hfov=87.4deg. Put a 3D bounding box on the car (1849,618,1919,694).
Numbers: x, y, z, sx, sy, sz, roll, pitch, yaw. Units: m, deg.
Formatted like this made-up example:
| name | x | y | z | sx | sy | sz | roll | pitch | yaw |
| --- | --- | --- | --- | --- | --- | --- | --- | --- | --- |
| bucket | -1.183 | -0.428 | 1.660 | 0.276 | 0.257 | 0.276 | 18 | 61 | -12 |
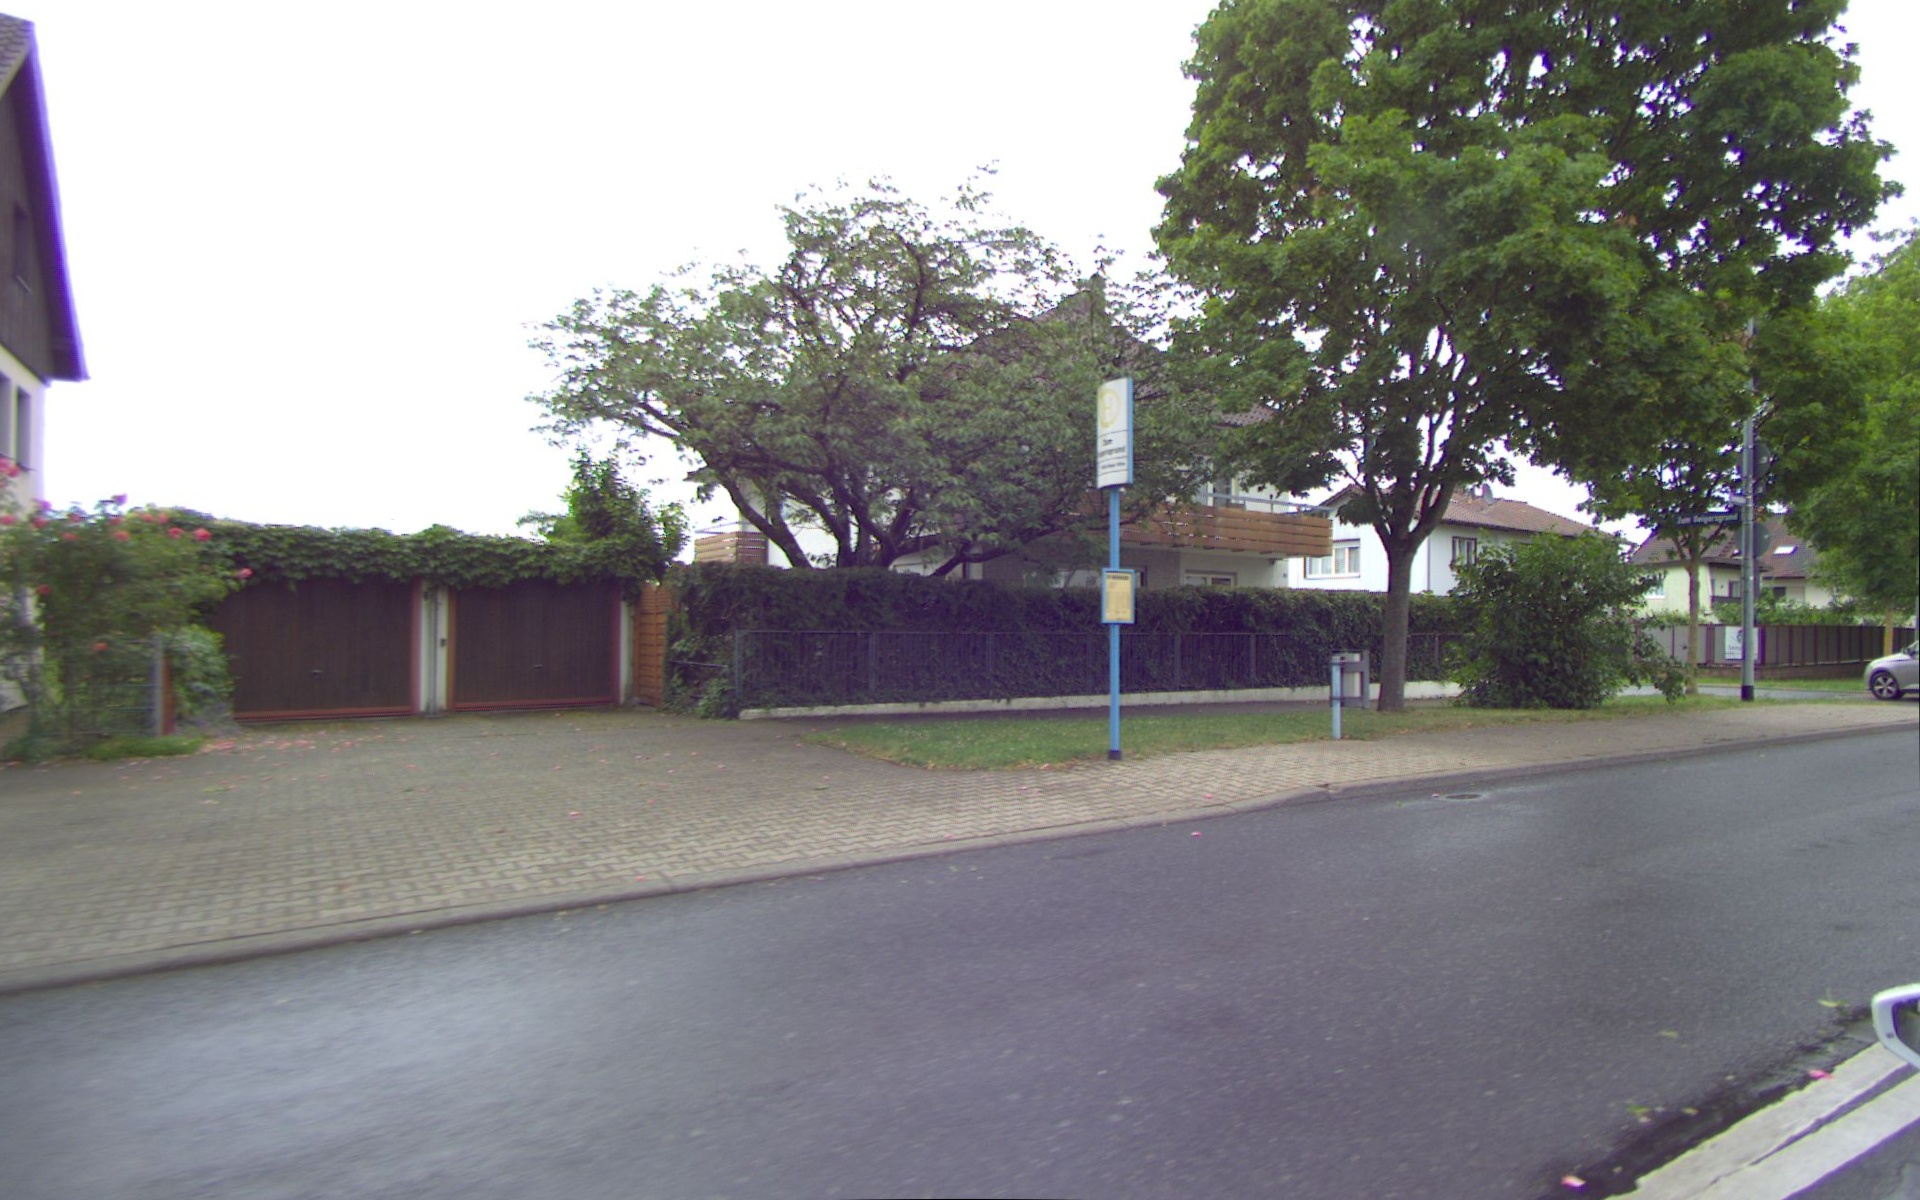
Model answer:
| name | x | y | z | sx | sy | sz | roll | pitch | yaw |
| --- | --- | --- | --- | --- | --- | --- | --- | --- | --- |
| car | 19.876 | 1.086 | 19.432 | 1.810 | 1.506 | 4.001 | 0 | -3 | 1 |
